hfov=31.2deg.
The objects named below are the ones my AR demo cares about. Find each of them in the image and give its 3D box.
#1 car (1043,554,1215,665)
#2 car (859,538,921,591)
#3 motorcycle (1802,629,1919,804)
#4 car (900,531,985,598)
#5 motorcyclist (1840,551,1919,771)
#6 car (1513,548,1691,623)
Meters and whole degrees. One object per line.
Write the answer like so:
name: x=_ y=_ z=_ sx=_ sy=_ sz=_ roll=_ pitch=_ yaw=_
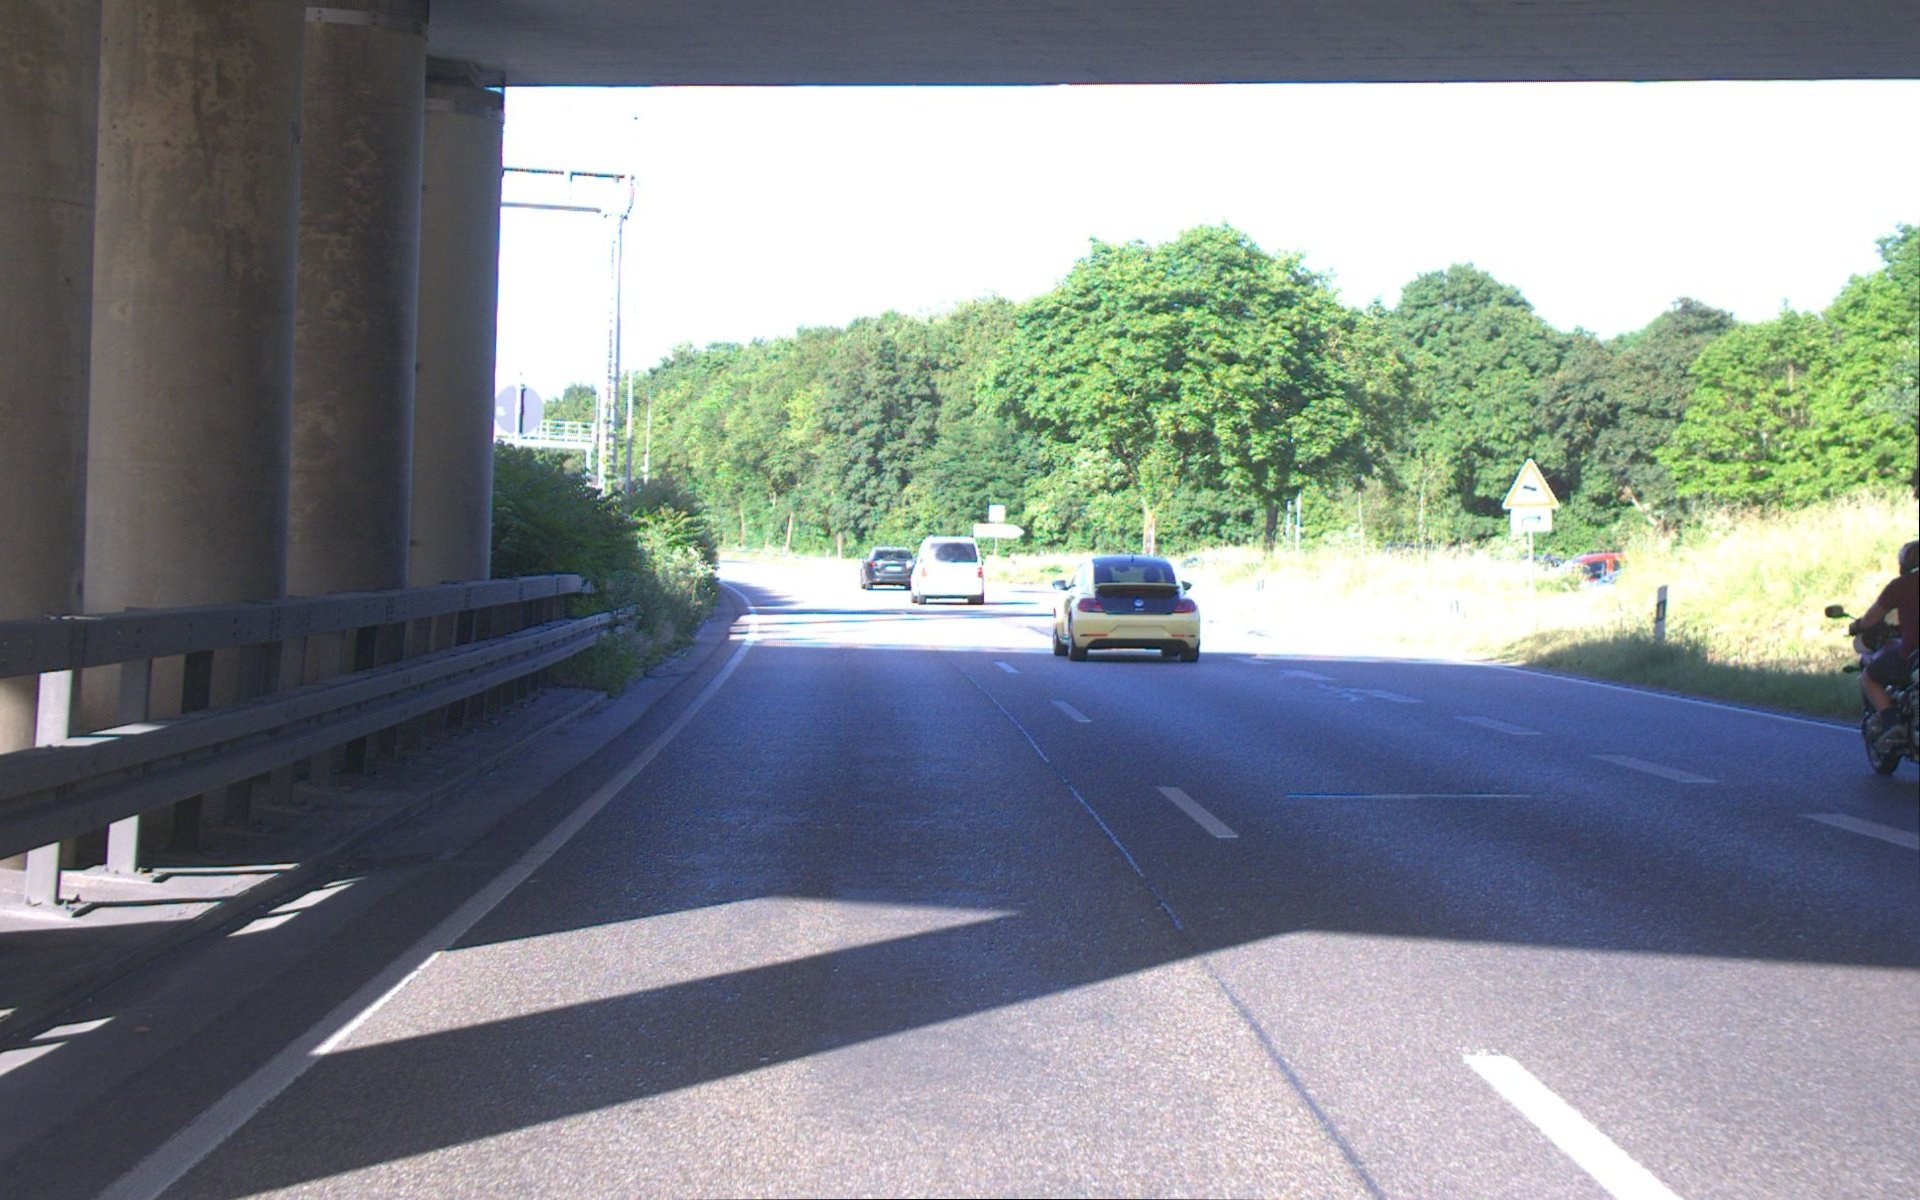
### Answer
car: x=2.333 y=0.100 z=48.435 sx=1.897 sy=1.466 sz=4.001 roll=0 pitch=1 yaw=-5
car: x=-2.419 y=-1.237 z=118.356 sx=1.897 sy=1.761 sz=4.001 roll=0 pitch=1 yaw=-4
motorcycle: x=6.499 y=0.765 z=23.162 sx=0.816 sy=1.066 sz=2.836 roll=1 pitch=1 yaw=-3
car: x=-0.491 y=-0.935 z=91.756 sx=1.897 sy=1.761 sz=4.001 roll=0 pitch=0 yaw=-6
motorcyclist: x=6.509 y=0.402 z=23.141 sx=0.816 sy=1.442 sz=1.094 roll=1 pitch=0 yaw=-3
car: x=19.005 y=-0.415 z=101.862 sx=4.788 sy=2.016 sz=2.027 roll=2 pitch=-2 yaw=-7
